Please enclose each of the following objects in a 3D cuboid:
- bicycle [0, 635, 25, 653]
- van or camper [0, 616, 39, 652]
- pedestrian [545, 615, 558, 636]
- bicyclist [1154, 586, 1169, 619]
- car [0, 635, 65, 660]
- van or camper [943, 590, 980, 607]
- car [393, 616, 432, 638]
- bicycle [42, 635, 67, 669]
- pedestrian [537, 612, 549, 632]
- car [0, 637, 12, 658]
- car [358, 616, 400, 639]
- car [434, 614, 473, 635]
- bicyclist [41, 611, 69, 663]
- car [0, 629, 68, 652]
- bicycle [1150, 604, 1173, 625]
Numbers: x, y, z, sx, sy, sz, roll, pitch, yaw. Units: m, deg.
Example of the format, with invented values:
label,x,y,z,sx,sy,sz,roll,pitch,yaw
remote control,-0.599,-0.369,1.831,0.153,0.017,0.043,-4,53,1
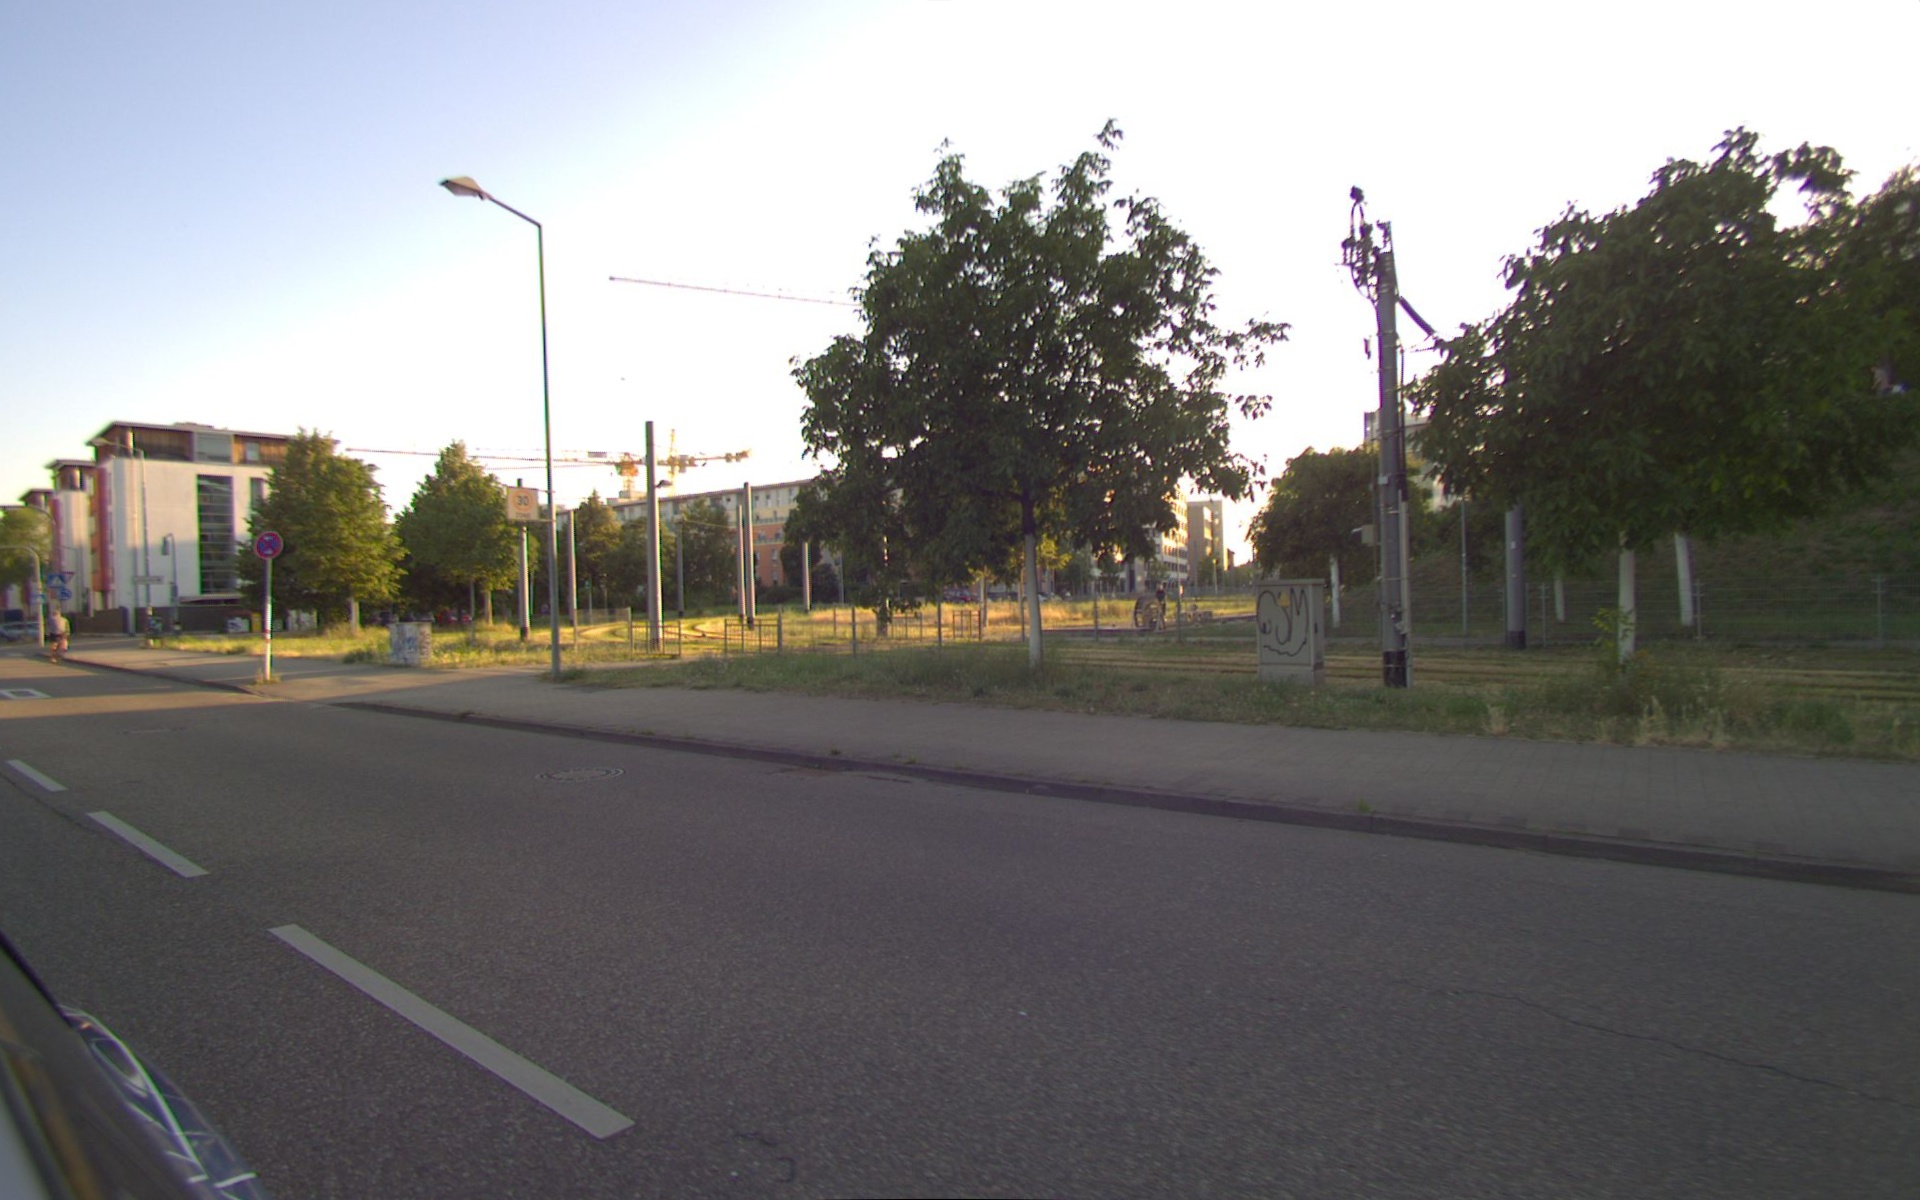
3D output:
label,x,y,z,sx,sy,sz,roll,pitch,yaw
bicycle,-63.315,2.978,67.102,0.566,1.074,1.799,-3,2,40
van or camper,-87.148,3.128,90.792,2.439,3.110,6.238,-3,0,38
pedestrian,-33.462,2.096,82.925,0.616,1.679,0.743,-3,1,3
bicyclist,9.220,0.119,46.311,0.424,1.506,0.507,-3,-1,43
car,-66.614,3.388,71.444,1.709,1.489,4.854,-3,1,40
van or camper,0.119,-0.181,112.126,3.881,1.707,1.808,-3,-1,44
car,-39.625,1.918,73.215,3.412,1.511,1.572,-1,0,45
bicycle,-29.743,1.702,33.236,0.532,1.051,1.926,-2,-1,-44
pedestrian,-34.187,1.799,82.975,0.648,1.611,0.712,-3,1,2
car,-79.921,3.959,82.177,1.722,1.637,4.052,-3,0,38
car,-41.254,1.968,71.837,3.412,1.533,1.666,-1,0,45
car,-37.460,1.809,74.848,3.412,1.511,1.572,-1,0,45
bicyclist,-29.754,1.219,33.256,0.607,1.675,1.037,-2,-1,-44
car,-64.532,2.835,69.877,1.679,1.469,4.236,-3,-2,40
bicycle,9.226,0.664,46.286,0.431,0.907,1.219,-3,-1,41
